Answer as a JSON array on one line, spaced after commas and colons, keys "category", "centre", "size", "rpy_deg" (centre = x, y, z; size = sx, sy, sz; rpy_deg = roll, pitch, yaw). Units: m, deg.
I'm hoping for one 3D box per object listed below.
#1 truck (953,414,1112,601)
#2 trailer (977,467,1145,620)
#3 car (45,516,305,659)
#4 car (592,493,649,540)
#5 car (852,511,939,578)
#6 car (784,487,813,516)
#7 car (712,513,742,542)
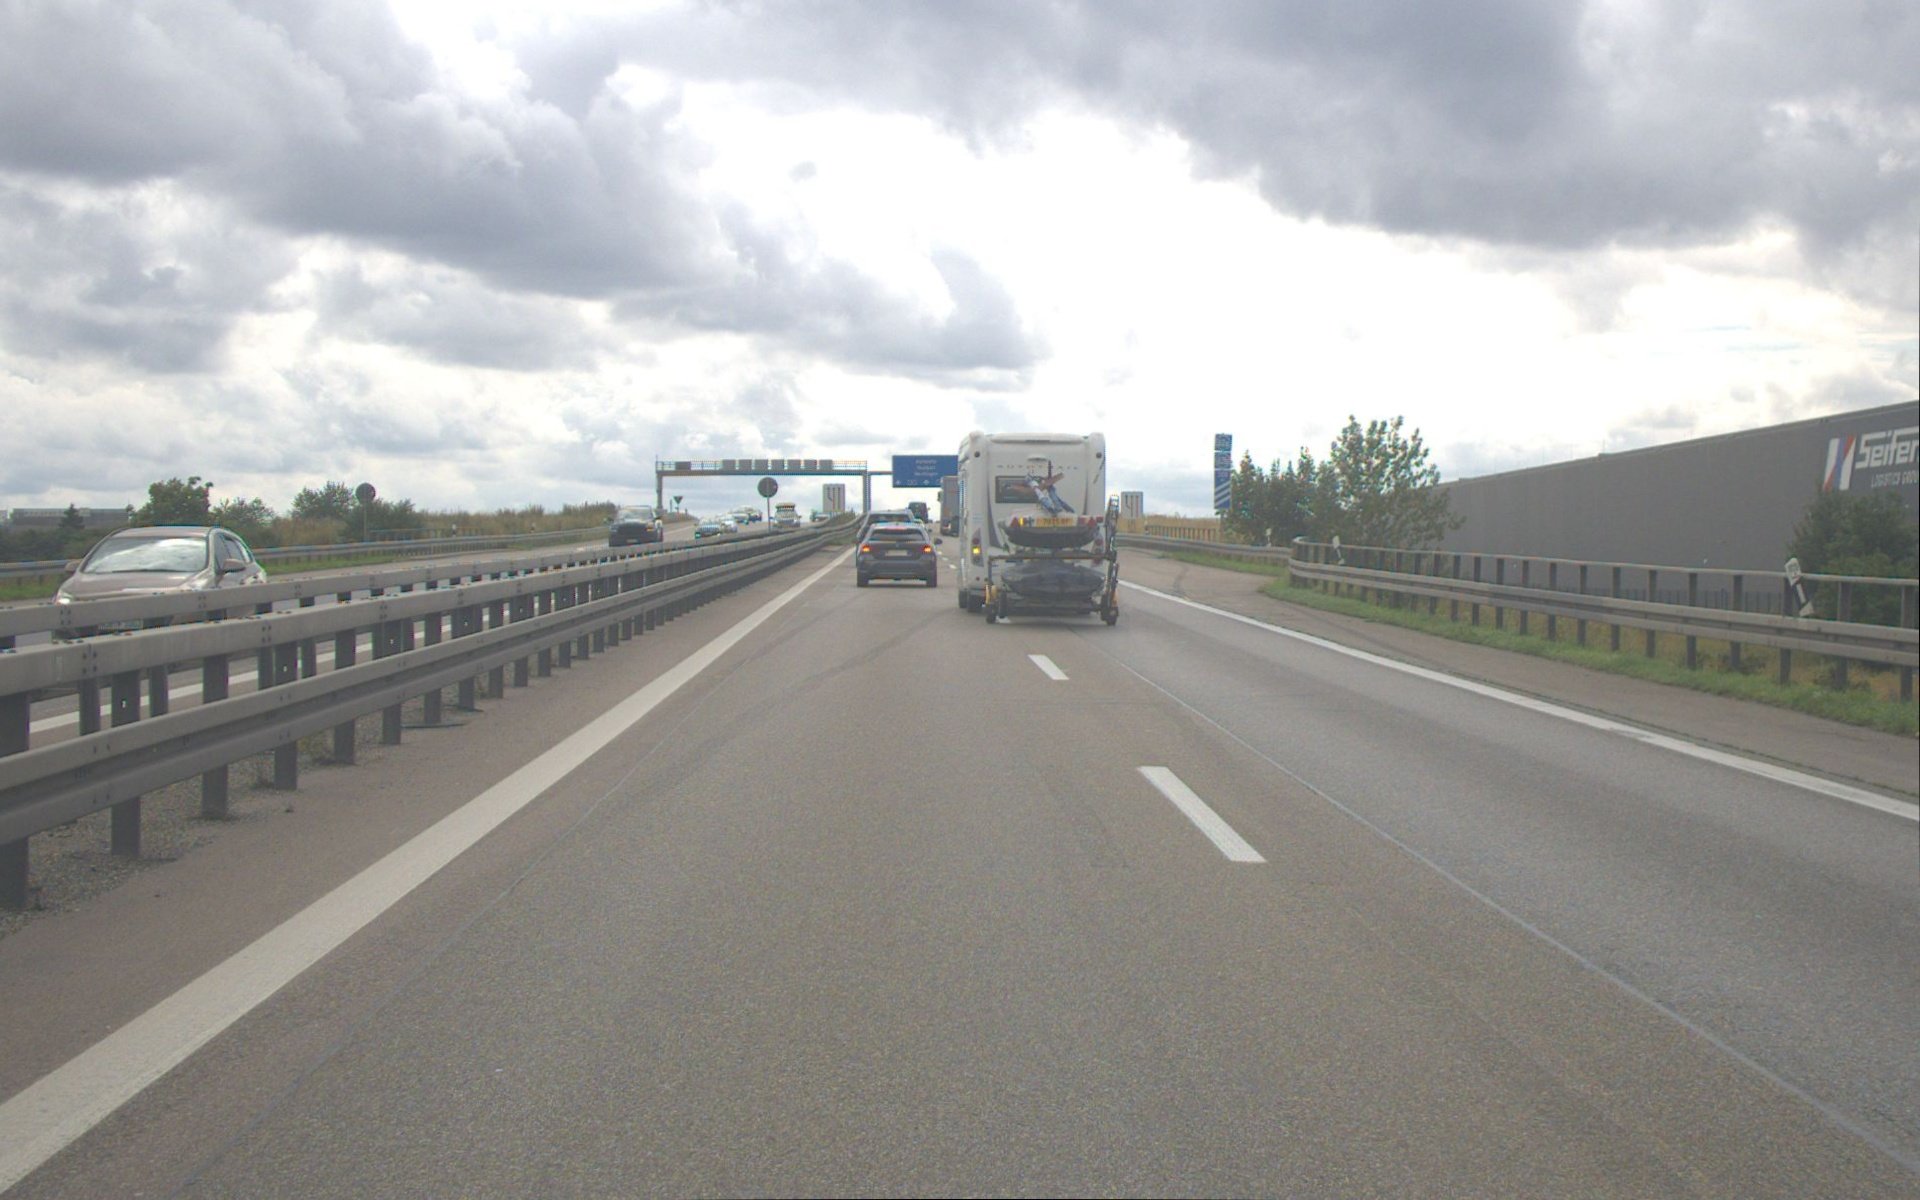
[{"category": "truck", "centre": [1.143, -1.489, 57.267], "size": [2.482, 2.940, 5.815], "rpy_deg": [0, 0, 0]}, {"category": "trailer", "centre": [1.466, -0.810, 50.113], "size": [2.338, 2.129, 4.000], "rpy_deg": [0, 0, 2]}, {"category": "car", "centre": [-8.774, -0.156, 38.798], "size": [1.906, 1.508, 4.730], "rpy_deg": [0, 0, -1]}, {"category": "car", "centre": [-14.906, -3.705, 151.186], "size": [1.993, 2.006, 6.103], "rpy_deg": [0, 2, -1]}, {"category": "car", "centre": [-1.424, -1.239, 77.565], "size": [1.746, 1.448, 4.000], "rpy_deg": [0, 0, 2]}, {"category": "car", "centre": [-11.232, -6.842, 238.717], "size": [1.993, 2.006, 4.385], "rpy_deg": [1, 2, -3]}, {"category": "car", "centre": [-16.435, -5.117, 242.684], "size": [1.993, 2.007, 4.384], "rpy_deg": [0, 0, -3]}]
